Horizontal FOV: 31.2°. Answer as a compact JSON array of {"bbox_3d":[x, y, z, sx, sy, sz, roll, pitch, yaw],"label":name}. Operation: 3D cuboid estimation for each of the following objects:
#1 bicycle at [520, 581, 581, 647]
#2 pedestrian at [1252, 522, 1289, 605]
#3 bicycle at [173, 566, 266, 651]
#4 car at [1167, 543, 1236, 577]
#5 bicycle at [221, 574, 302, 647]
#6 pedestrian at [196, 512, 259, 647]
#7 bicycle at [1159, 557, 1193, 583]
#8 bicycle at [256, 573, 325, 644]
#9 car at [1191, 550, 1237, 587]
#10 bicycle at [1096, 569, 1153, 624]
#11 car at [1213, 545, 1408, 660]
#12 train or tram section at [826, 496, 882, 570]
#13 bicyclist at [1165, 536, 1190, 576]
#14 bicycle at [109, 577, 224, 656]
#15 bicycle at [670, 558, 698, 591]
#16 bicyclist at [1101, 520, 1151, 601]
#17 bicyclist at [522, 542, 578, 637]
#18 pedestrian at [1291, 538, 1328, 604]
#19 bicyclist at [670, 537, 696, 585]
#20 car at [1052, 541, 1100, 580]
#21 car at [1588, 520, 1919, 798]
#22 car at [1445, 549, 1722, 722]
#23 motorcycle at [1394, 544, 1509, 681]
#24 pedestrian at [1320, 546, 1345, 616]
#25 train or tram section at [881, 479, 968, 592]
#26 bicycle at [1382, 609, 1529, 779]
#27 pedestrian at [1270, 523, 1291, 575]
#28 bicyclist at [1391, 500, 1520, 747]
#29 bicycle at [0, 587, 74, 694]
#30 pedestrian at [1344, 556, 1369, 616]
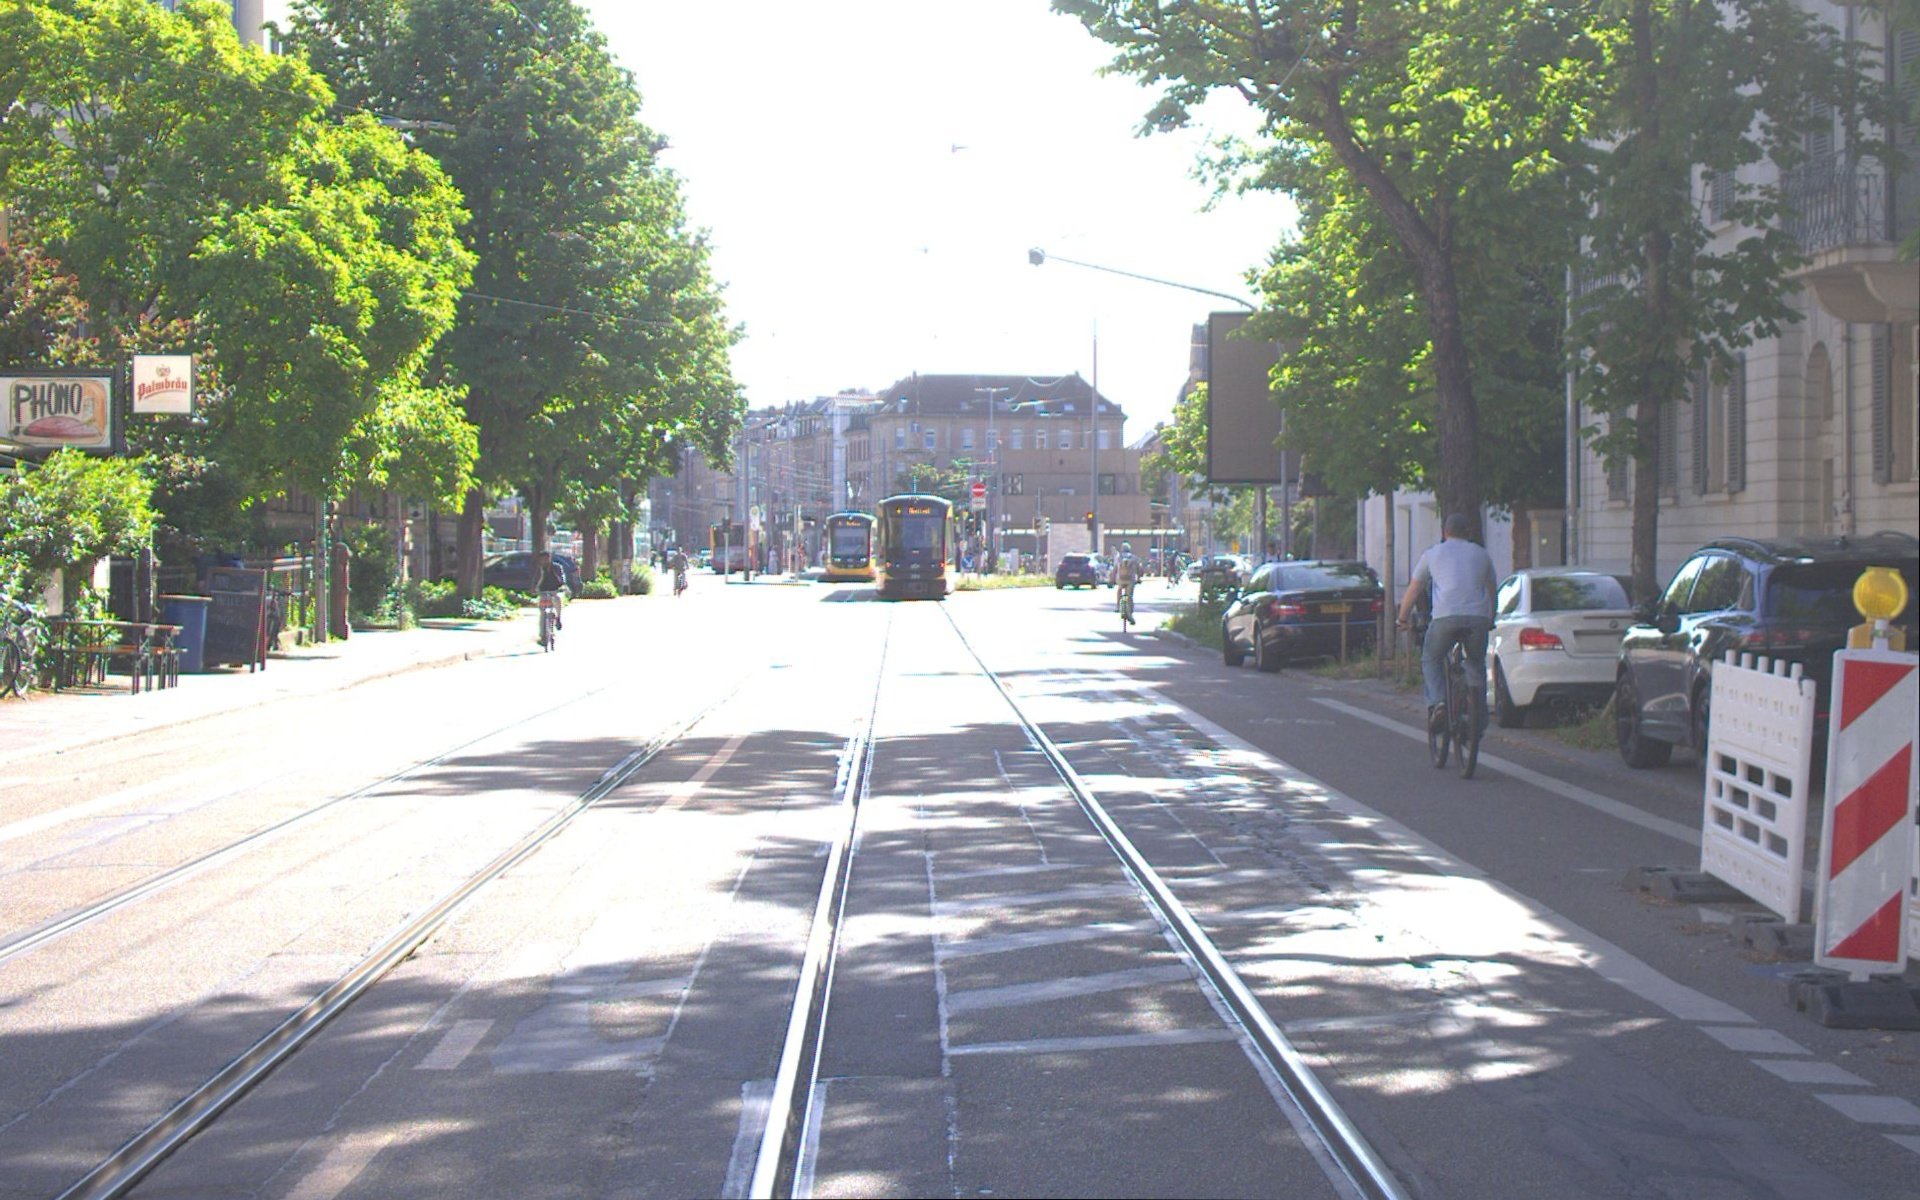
[{"bbox_3d":[-7.046,0.235,59.233,0.745,1.078,1.899,-3,1,1],"label":"bicycle"},{"bbox_3d":[6.974,-0.816,77.210,0.683,1.843,0.955,-1,1,-2],"label":"pedestrian"},{"bbox_3d":[-10.513,0.109,48.849,0.646,1.139,1.904,3,1,7],"label":"bicycle"},{"bbox_3d":[11.997,-1.969,170.536,1.705,1.638,3.705,2,2,34],"label":"car"},{"bbox_3d":[-10.446,0.149,51.447,0.590,1.042,1.904,2,1,7],"label":"bicycle"},{"bbox_3d":[-10.049,-0.283,47.174,0.576,1.825,0.689,1,1,18],"label":"pedestrian"},{"bbox_3d":[9.449,-1.312,150.251,0.706,1.051,2.311,3,2,24],"label":"bicycle"},{"bbox_3d":[-10.404,0.125,53.455,0.590,1.042,1.905,2,1,3],"label":"bicycle"},{"bbox_3d":[11.007,-1.370,148.943,1.789,1.506,3.712,2,1,2],"label":"car"},{"bbox_3d":[3.467,-0.076,72.146,0.705,1.101,1.715,2,2,19],"label":"bicycle"},{"bbox_3d":[4.768,-0.011,47.369,1.821,1.453,4.819,-2,1,-4],"label":"car"},{"bbox_3d":[-5.456,-3.500,177.401,2.742,3.639,13.787,0,1,-2],"label":"train or tram section"},{"bbox_3d":[9.502,-1.938,150.288,0.706,1.694,0.986,3,2,24],"label":"bicyclist"},{"bbox_3d":[-10.864,0.217,47.132,0.637,1.042,2.020,1,1,16],"label":"bicycle"},{"bbox_3d":[-9.563,-0.879,119.041,0.687,1.120,1.931,-2,1,3],"label":"bicycle"},{"bbox_3d":[3.487,-0.838,72.112,0.705,1.669,1.100,2,1,19],"label":"bicyclist"},{"bbox_3d":[-7.066,-0.184,59.223,0.745,1.594,1.118,-3,1,1],"label":"bicyclist"},{"bbox_3d":[8.756,-0.725,86.103,0.857,1.635,0.993,0,-1,2],"label":"pedestrian"},{"bbox_3d":[-9.578,-1.352,119.016,0.687,1.639,1.237,-2,1,3],"label":"bicyclist"},{"bbox_3d":[5.010,-1.723,147.884,1.789,1.599,3.712,2,1,5],"label":"car"},{"bbox_3d":[5.549,0.304,22.955,1.810,1.620,4.584,-2,1,0],"label":"car"},{"bbox_3d":[5.494,0.266,30.769,1.724,1.377,4.356,-1,1,1],"label":"car"},{"bbox_3d":[5.577,0.121,39.195,0.913,1.483,2.679,-2,1,1],"label":"motorcycle"},{"bbox_3d":[8.626,-0.442,79.657,0.518,1.595,0.764,0,1,2],"label":"pedestrian"},{"bbox_3d":[-1.314,-2.263,118.400,2.742,3.639,13.787,0,1,-2],"label":"train or tram section"},{"bbox_3d":[3.468,0.636,24.229,0.738,1.090,2.111,2,1,1],"label":"bicycle"},{"bbox_3d":[11.873,-1.889,127.399,0.637,1.897,1.134,-2,1,0],"label":"pedestrian"},{"bbox_3d":[3.480,0.154,24.209,0.738,1.680,0.972,2,1,1],"label":"bicyclist"},{"bbox_3d":[-9.959,0.419,36.427,0.638,1.055,1.743,3,1,0],"label":"bicycle"},{"bbox_3d":[9.183,-0.327,79.657,0.518,1.399,0.764,0,1,2],"label":"pedestrian"}]
